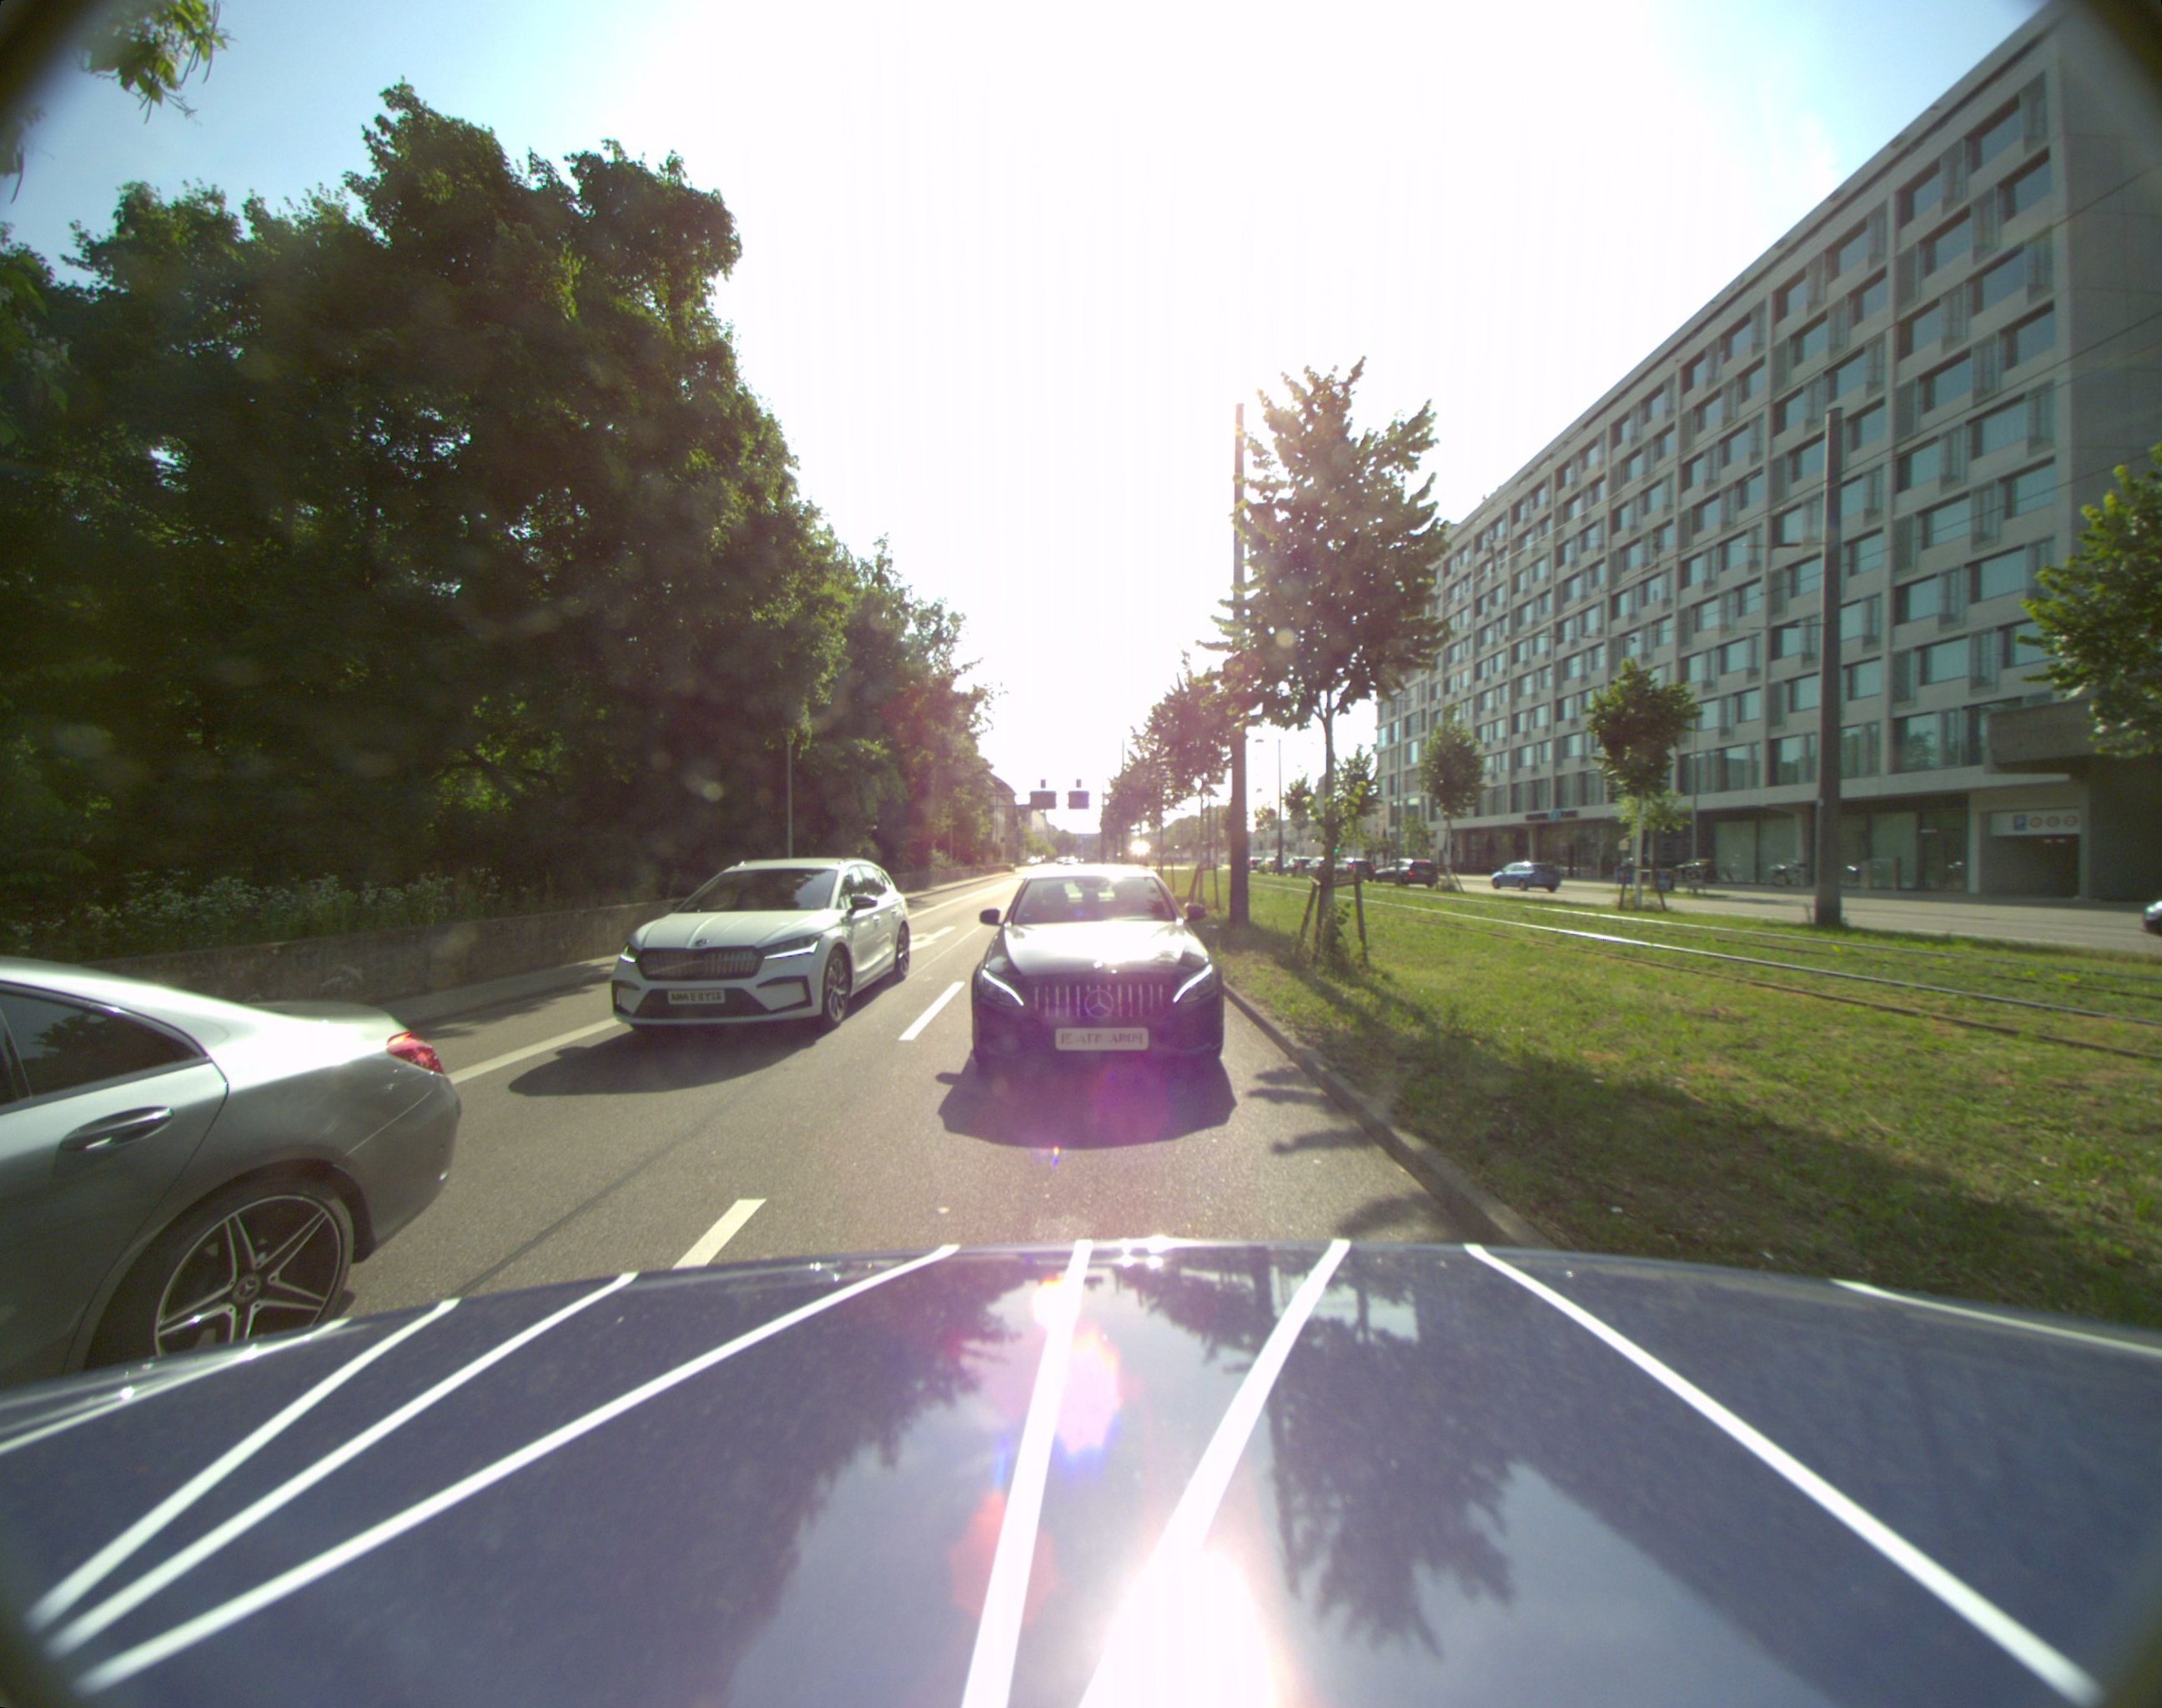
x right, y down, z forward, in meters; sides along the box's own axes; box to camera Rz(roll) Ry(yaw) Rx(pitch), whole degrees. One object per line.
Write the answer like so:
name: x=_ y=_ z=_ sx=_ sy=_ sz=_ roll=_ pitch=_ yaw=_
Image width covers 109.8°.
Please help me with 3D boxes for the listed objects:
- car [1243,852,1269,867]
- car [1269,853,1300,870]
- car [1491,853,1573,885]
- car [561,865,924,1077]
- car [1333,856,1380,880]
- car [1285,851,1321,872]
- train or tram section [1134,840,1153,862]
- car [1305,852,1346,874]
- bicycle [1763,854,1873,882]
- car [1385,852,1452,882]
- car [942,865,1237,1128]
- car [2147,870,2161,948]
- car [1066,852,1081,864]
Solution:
car: x=17.548 y=0.554 z=76.395 sx=1.787 sy=1.516 sz=4.000 roll=0 pitch=0 yaw=1
car: x=17.654 y=0.631 z=66.119 sx=1.812 sy=1.466 sz=4.000 roll=0 pitch=0 yaw=3
car: x=23.281 y=0.746 z=39.435 sx=1.998 sy=1.565 sz=4.000 roll=0 pitch=0 yaw=3
car: x=-3.123 y=0.963 z=8.146 sx=1.897 sy=1.561 sz=4.250 roll=-1 pitch=0 yaw=1
car: x=17.269 y=0.848 z=47.748 sx=1.745 sy=1.478 sz=3.642 roll=0 pitch=0 yaw=3
car: x=17.350 y=0.563 z=59.608 sx=1.812 sy=1.565 sz=4.000 roll=0 pitch=0 yaw=3
train or tram section: x=9.861 y=-0.458 z=120.457 sx=2.500 sy=3.409 sz=6.669 roll=0 pitch=0 yaw=1
car: x=17.375 y=0.608 z=54.130 sx=1.812 sy=1.565 sz=4.000 roll=0 pitch=0 yaw=3
bicycle: x=36.599 y=0.668 z=37.816 sx=3.994 sy=1.358 sz=1.127 roll=0 pitch=1 yaw=9
car: x=17.140 y=0.620 z=38.769 sx=1.812 sy=1.472 sz=4.000 roll=0 pitch=0 yaw=3
car: x=0.083 y=0.915 z=6.982 sx=1.760 sy=1.437 sz=4.617 roll=-2 pitch=1 yaw=1
car: x=21.552 y=1.046 z=12.400 sx=1.999 sy=1.481 sz=4.417 roll=0 pitch=0 yaw=-4
car: x=-1.029 y=0.557 z=103.059 sx=1.998 sy=1.630 sz=4.000 roll=0 pitch=0 yaw=0
